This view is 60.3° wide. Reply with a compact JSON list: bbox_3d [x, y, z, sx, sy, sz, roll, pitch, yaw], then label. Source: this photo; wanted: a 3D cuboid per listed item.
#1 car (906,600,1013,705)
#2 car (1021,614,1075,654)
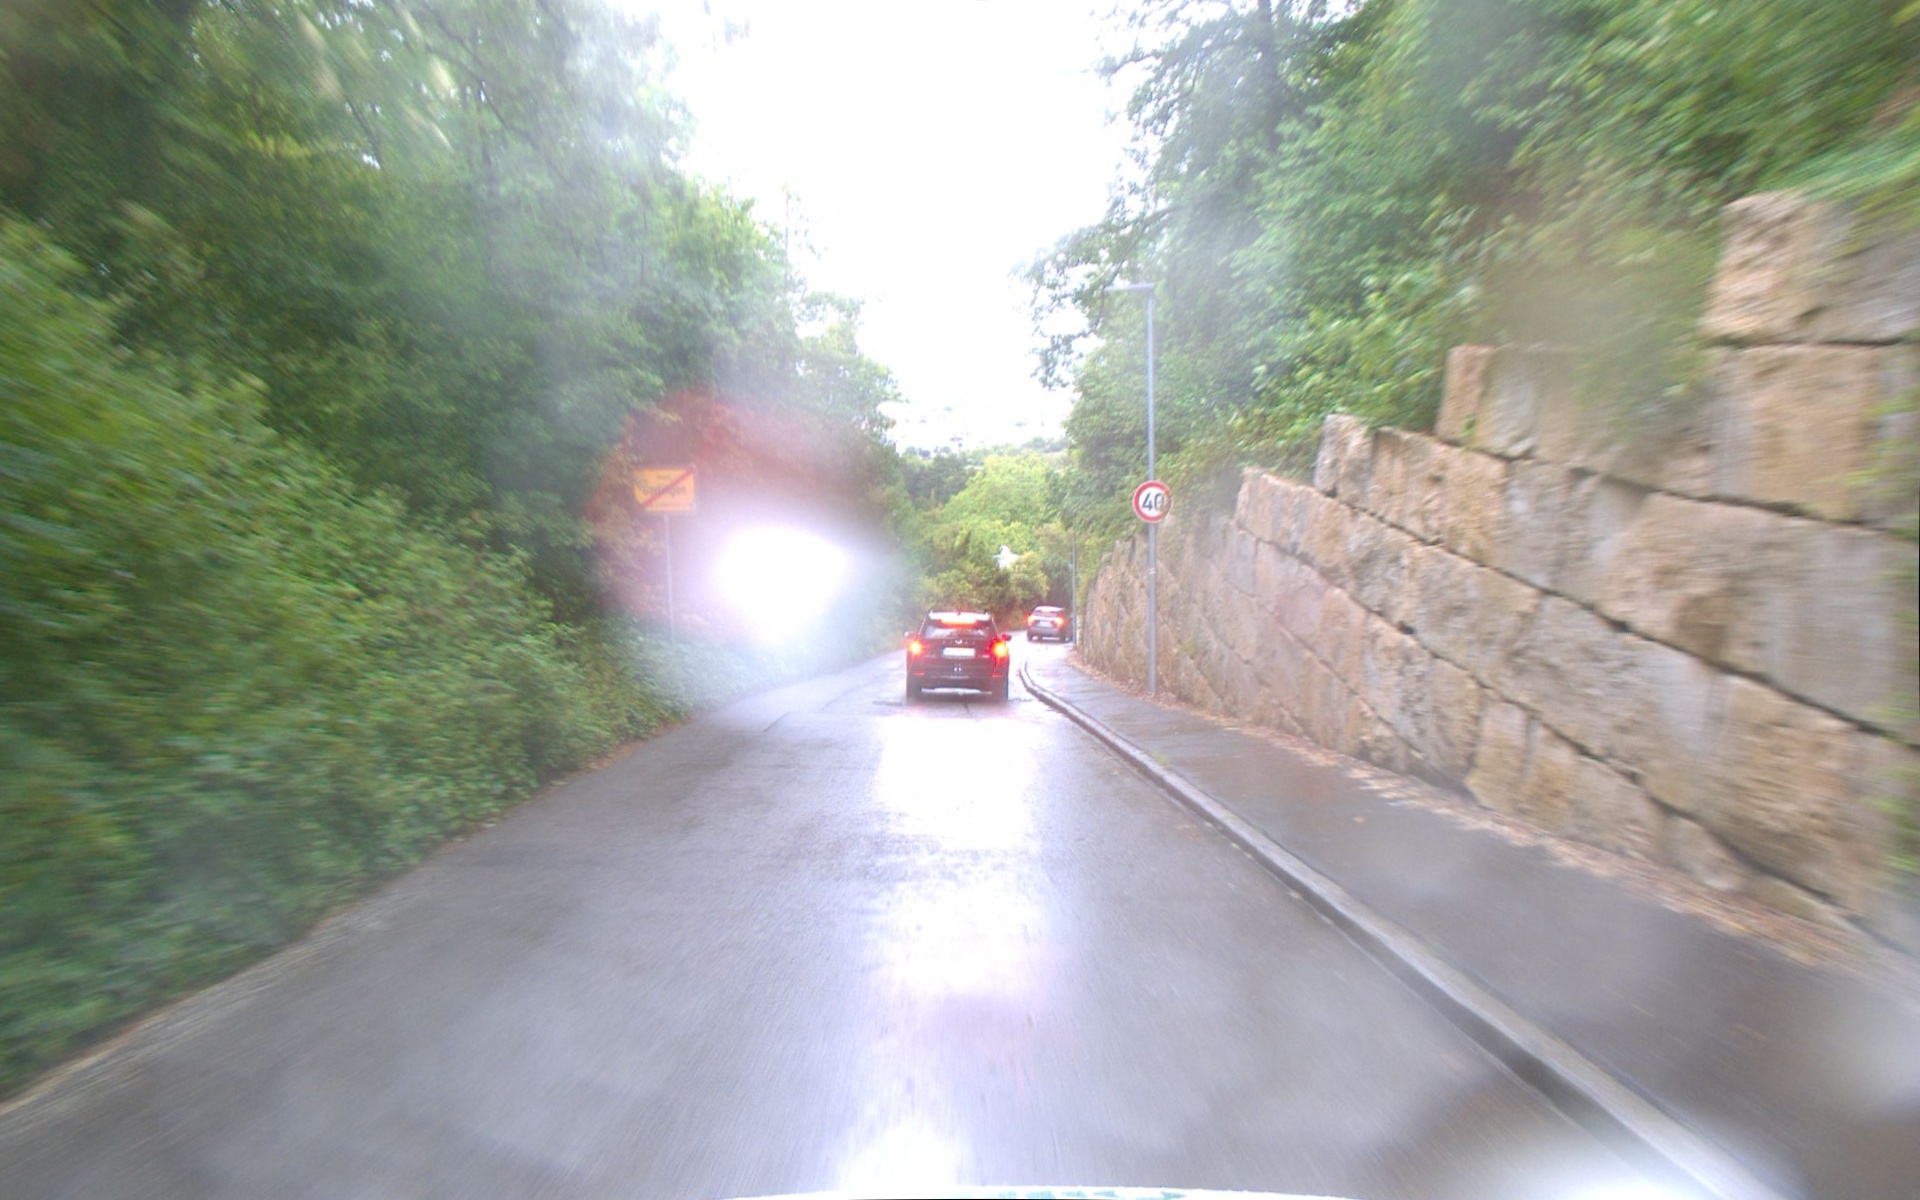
[{"bbox_3d":[-0.072,0.850,28.777,1.665,1.475,3.999,-1,3,-3],"label":"car"},{"bbox_3d":[4.143,1.574,77.434,1.823,1.774,4.003,1,-1,13],"label":"car"}]
